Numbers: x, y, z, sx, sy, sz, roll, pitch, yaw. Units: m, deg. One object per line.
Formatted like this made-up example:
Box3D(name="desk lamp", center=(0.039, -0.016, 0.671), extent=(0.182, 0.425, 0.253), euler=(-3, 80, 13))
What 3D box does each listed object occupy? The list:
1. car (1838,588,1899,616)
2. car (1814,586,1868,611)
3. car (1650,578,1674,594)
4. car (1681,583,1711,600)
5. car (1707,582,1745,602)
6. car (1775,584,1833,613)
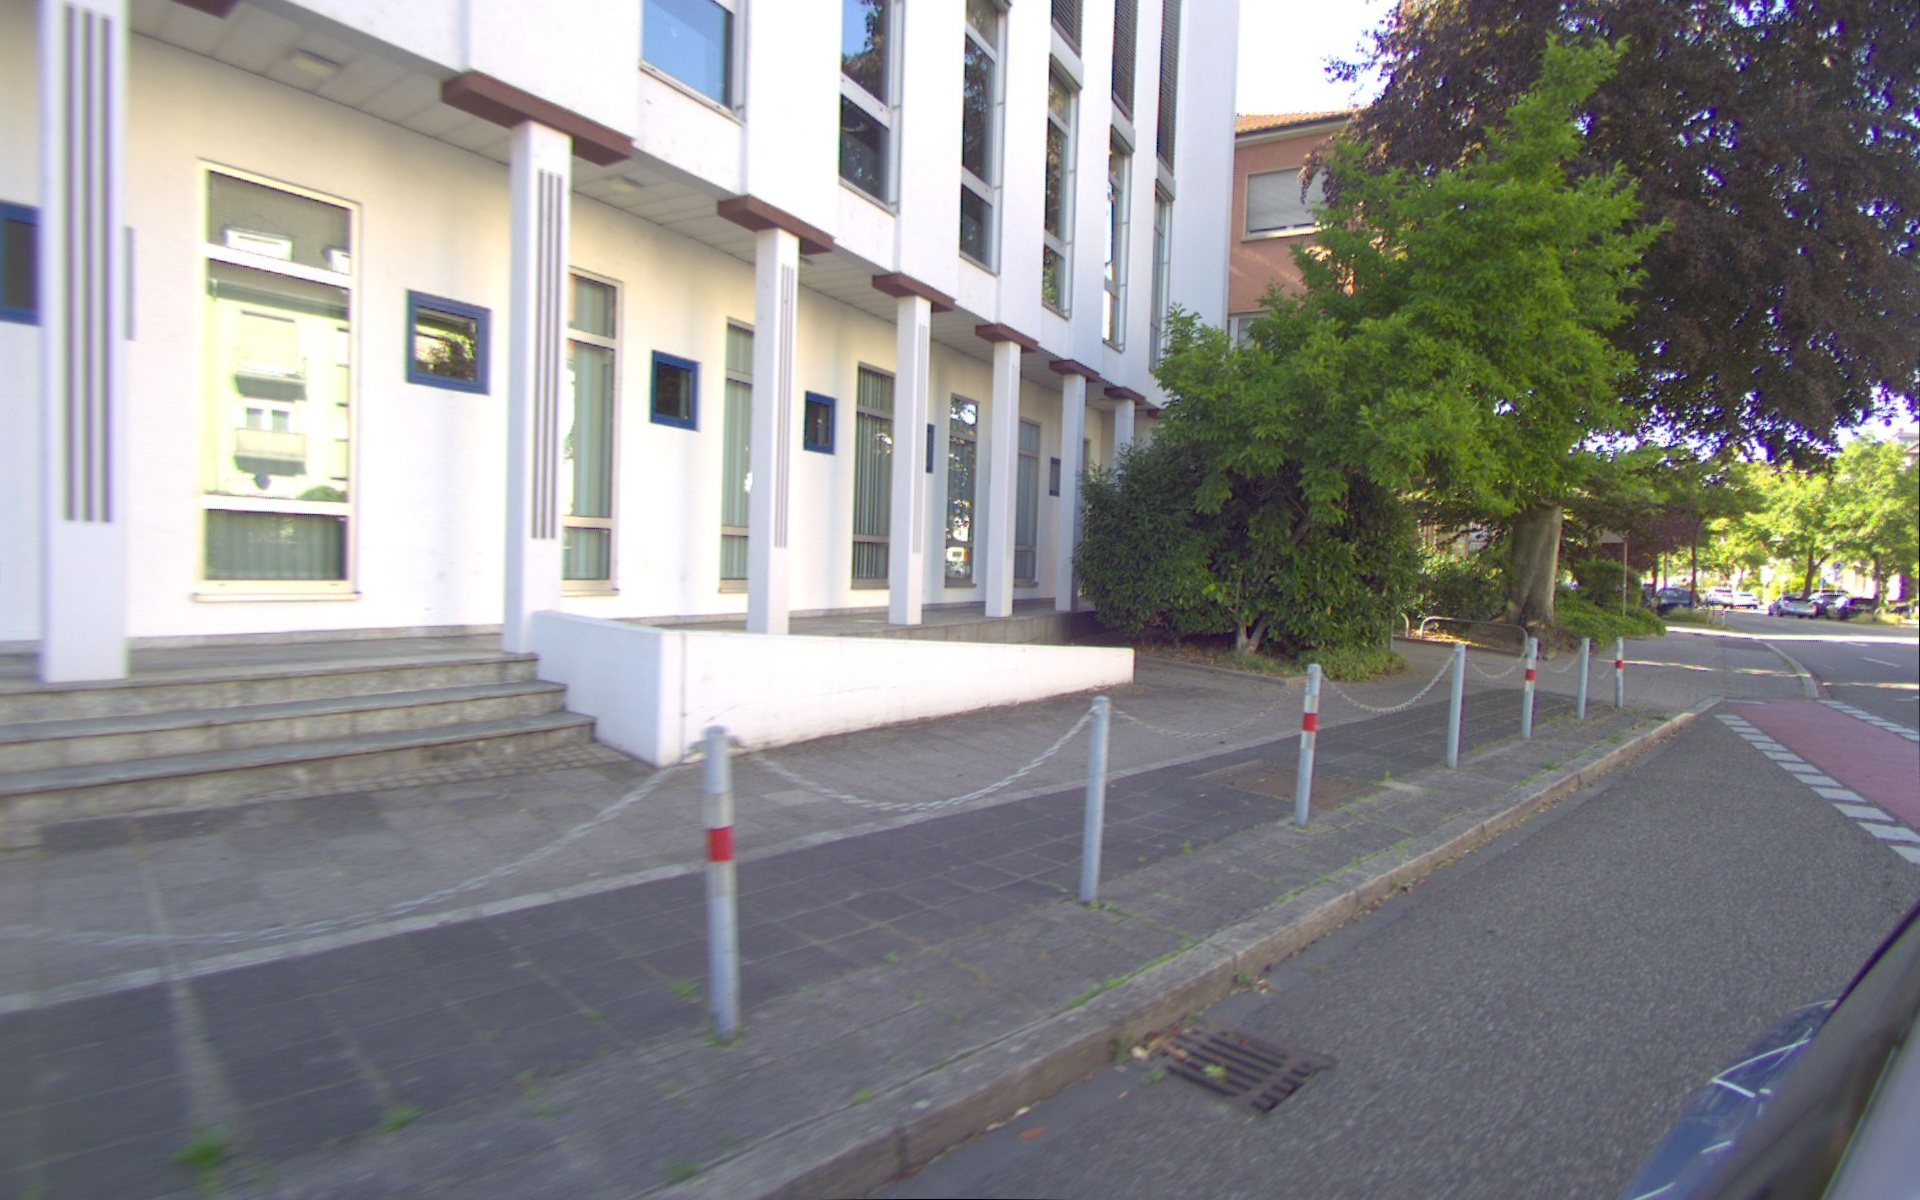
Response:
Box3D(name="car", center=(53.369, 0.073, 59.506), extent=(1.789, 1.581, 3.884), euler=(0, 0, 28))
Box3D(name="car", center=(56.064, -0.116, 64.465), extent=(1.789, 1.581, 3.884), euler=(0, 0, 28))
Box3D(name="car", center=(80.143, -1.551, 115.509), extent=(1.789, 1.761, 4.126), euler=(0, 0, 28))
Box3D(name="car", center=(71.528, -0.844, 98.406), extent=(1.789, 1.581, 4.126), euler=(0, 0, 28))
Box3D(name="car", center=(62.421, -0.644, 82.525), extent=(1.789, 1.581, 4.126), euler=(0, 0, 28))
Box3D(name="car", center=(51.019, -0.130, 61.249), extent=(1.789, 1.580, 4.126), euler=(3, 3, 28))
